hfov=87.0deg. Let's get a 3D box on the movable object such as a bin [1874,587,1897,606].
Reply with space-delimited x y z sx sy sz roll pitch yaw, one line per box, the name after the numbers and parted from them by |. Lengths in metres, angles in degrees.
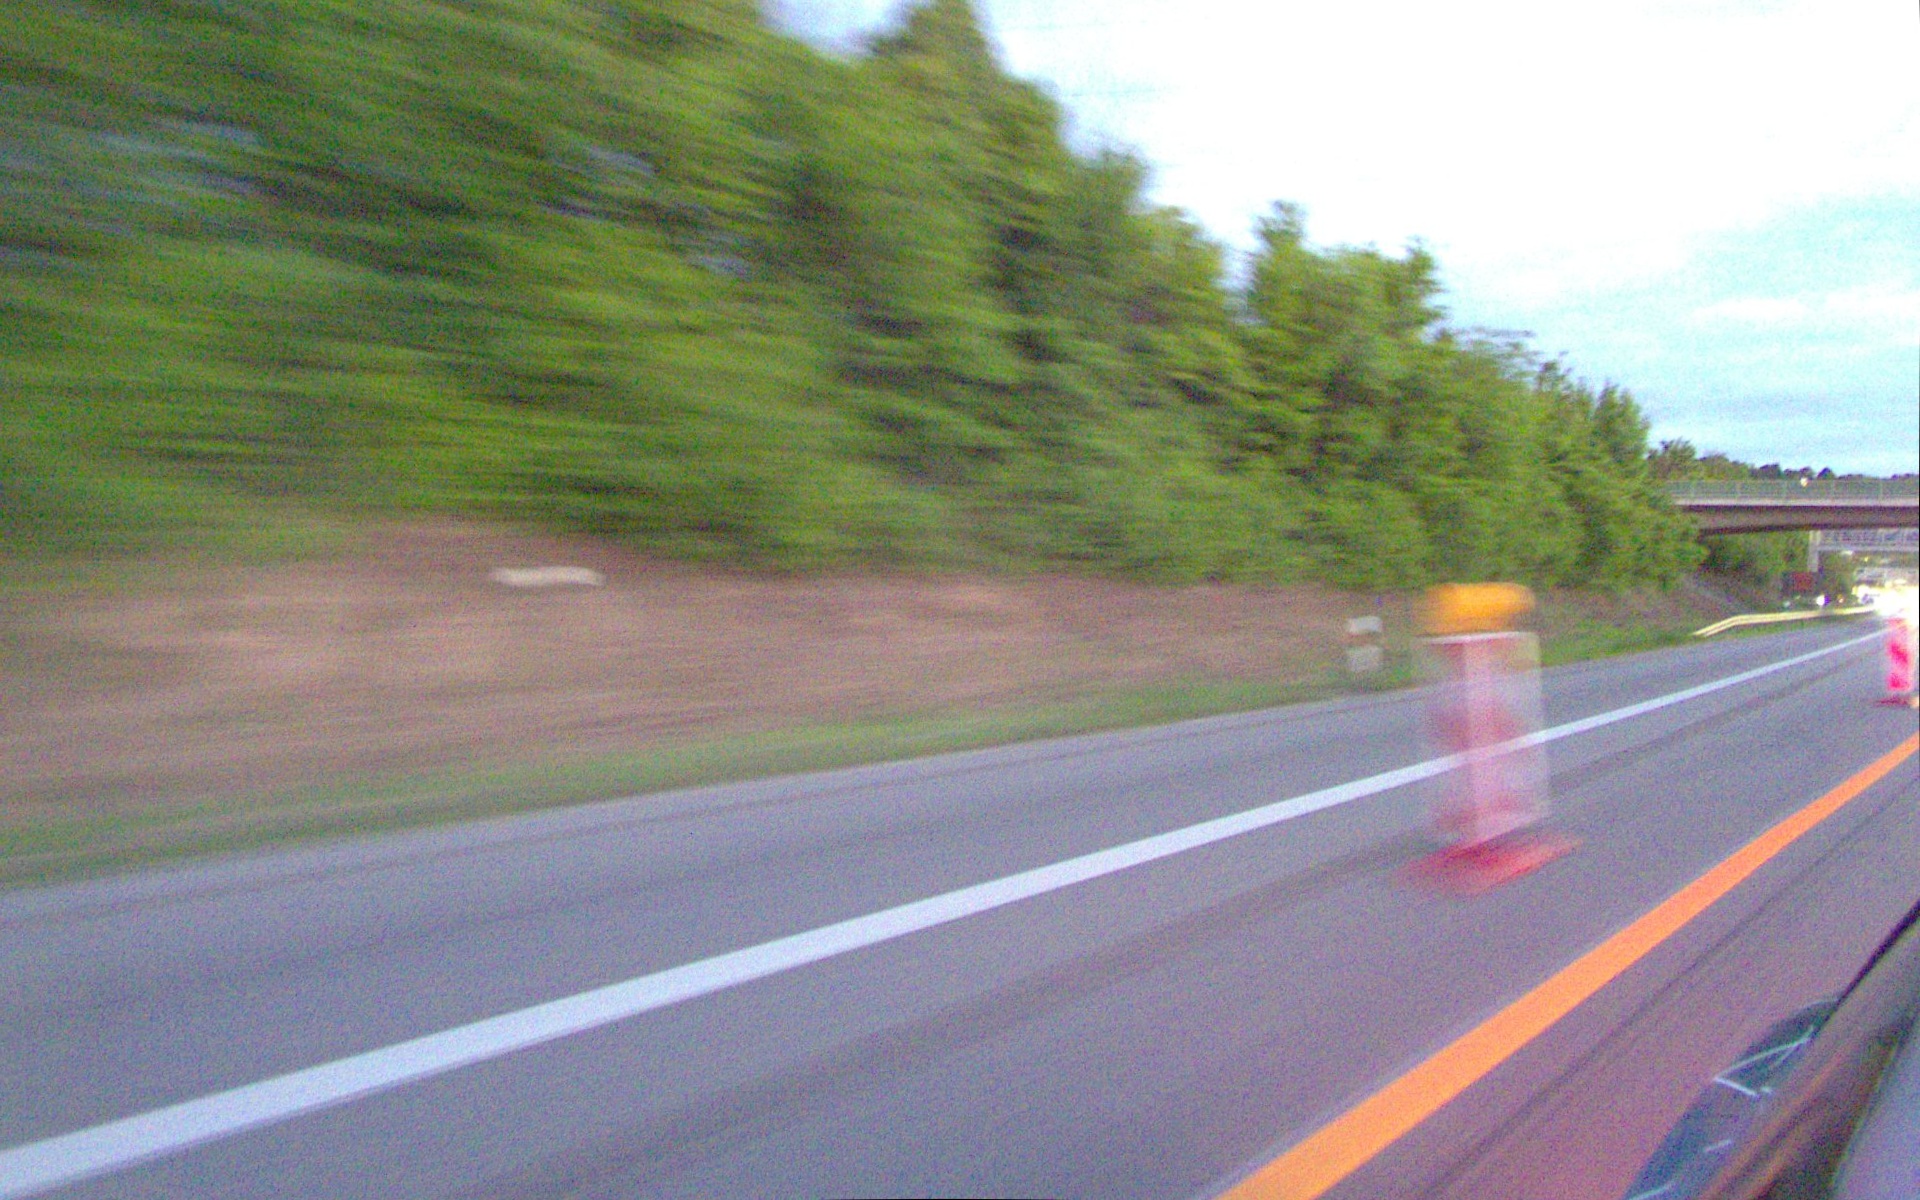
157.699 -0.565 172.513 2.618 3.146 5.720 2 2 41 | movable object such as a bin
